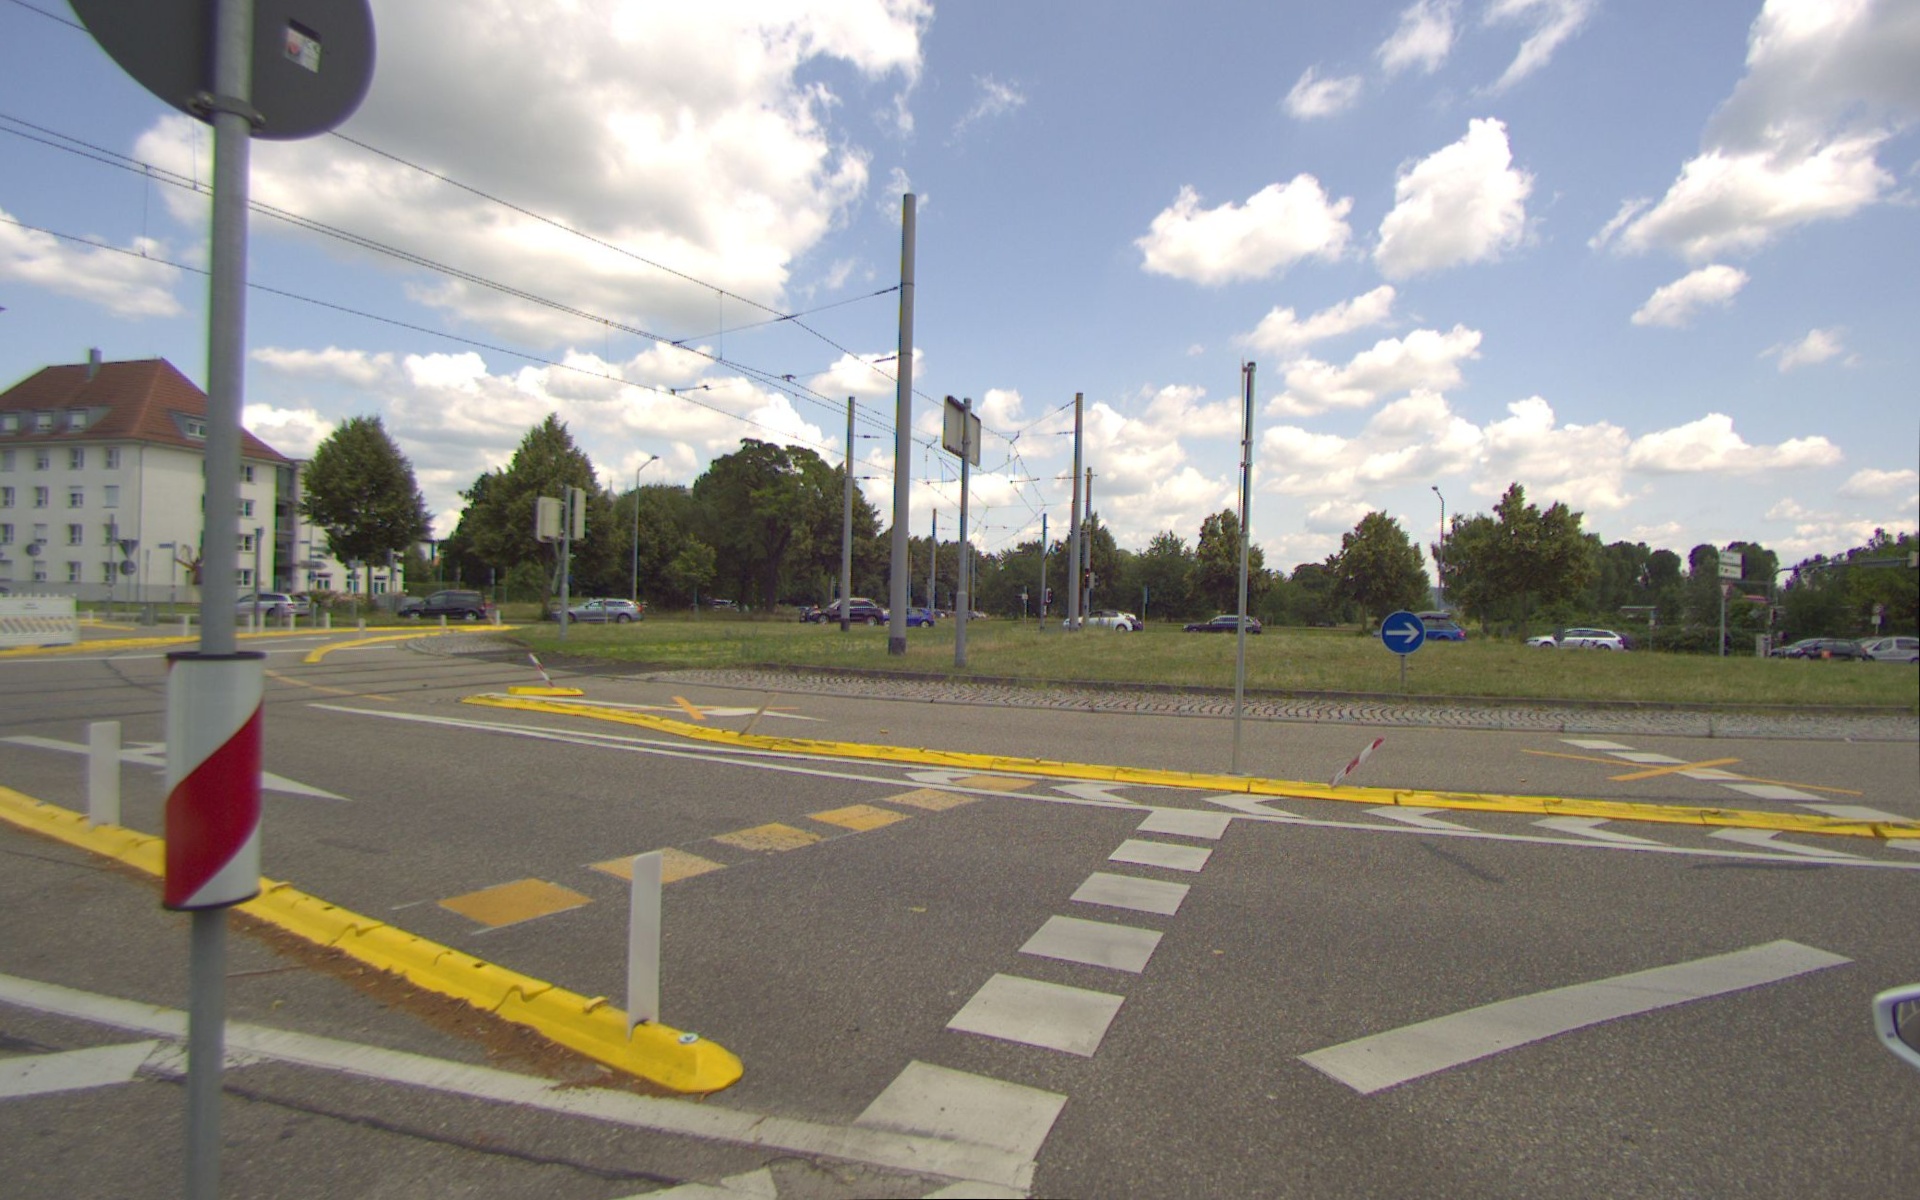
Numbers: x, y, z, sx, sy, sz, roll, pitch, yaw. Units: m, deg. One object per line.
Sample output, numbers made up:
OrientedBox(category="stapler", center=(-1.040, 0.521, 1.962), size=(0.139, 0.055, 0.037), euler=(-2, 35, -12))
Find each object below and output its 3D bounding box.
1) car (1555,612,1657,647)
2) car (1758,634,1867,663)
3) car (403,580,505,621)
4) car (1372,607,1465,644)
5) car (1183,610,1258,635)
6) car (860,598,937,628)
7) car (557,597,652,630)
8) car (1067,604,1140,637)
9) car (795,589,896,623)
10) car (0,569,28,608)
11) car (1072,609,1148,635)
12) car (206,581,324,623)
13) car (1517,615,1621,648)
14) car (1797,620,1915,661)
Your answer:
OrientedBox(category="car", center=(36.765, 1.639, 57.339), size=(4.574, 1.845, 2.124), euler=(1, 0, 25))
OrientedBox(category="car", center=(43.889, 2.478, 51.796), size=(3.901, 1.358, 1.803), euler=(0, -2, 19))
OrientedBox(category="car", center=(-26.967, 0.029, 53.744), size=(4.657, 2.040, 1.990), euler=(1, 0, -22))
OrientedBox(category="car", center=(23.994, 1.307, 52.694), size=(4.322, 1.822, 1.755), euler=(1, 0, 22))
OrientedBox(category="car", center=(16.047, 1.373, 62.113), size=(4.400, 1.341, 1.955), euler=(1, 0, 13))
OrientedBox(category="car", center=(-3.982, 0.846, 64.672), size=(4.647, 1.815, 1.843), euler=(1, 0, -15))
OrientedBox(category="car", center=(-19.789, 0.747, 55.923), size=(4.870, 1.648, 2.056), euler=(1, 2, -21))
OrientedBox(category="car", center=(9.650, 1.361, 67.413), size=(4.630, 2.040, 2.001), euler=(1, 0, 14))
OrientedBox(category="car", center=(-6.156, 0.336, 54.019), size=(5.004, 1.697, 1.987), euler=(1, 0, -26))
OrientedBox(category="car", center=(-52.579, -0.655, 54.350), size=(4.643, 2.040, 1.995), euler=(1, 0, 32))
OrientedBox(category="car", center=(8.610, 1.251, 57.883), size=(4.224, 1.347, 2.001), euler=(1, 0, 8))
OrientedBox(category="car", center=(-36.033, 0.105, 52.166), size=(4.633, 2.040, 2.000), euler=(1, 0, -1))
OrientedBox(category="car", center=(32.768, 1.670, 54.187), size=(4.418, 1.542, 2.124), euler=(1, 0, 19))
OrientedBox(category="car", center=(48.860, 2.181, 54.837), size=(4.694, 2.040, 2.000), euler=(2, 0, -1))
